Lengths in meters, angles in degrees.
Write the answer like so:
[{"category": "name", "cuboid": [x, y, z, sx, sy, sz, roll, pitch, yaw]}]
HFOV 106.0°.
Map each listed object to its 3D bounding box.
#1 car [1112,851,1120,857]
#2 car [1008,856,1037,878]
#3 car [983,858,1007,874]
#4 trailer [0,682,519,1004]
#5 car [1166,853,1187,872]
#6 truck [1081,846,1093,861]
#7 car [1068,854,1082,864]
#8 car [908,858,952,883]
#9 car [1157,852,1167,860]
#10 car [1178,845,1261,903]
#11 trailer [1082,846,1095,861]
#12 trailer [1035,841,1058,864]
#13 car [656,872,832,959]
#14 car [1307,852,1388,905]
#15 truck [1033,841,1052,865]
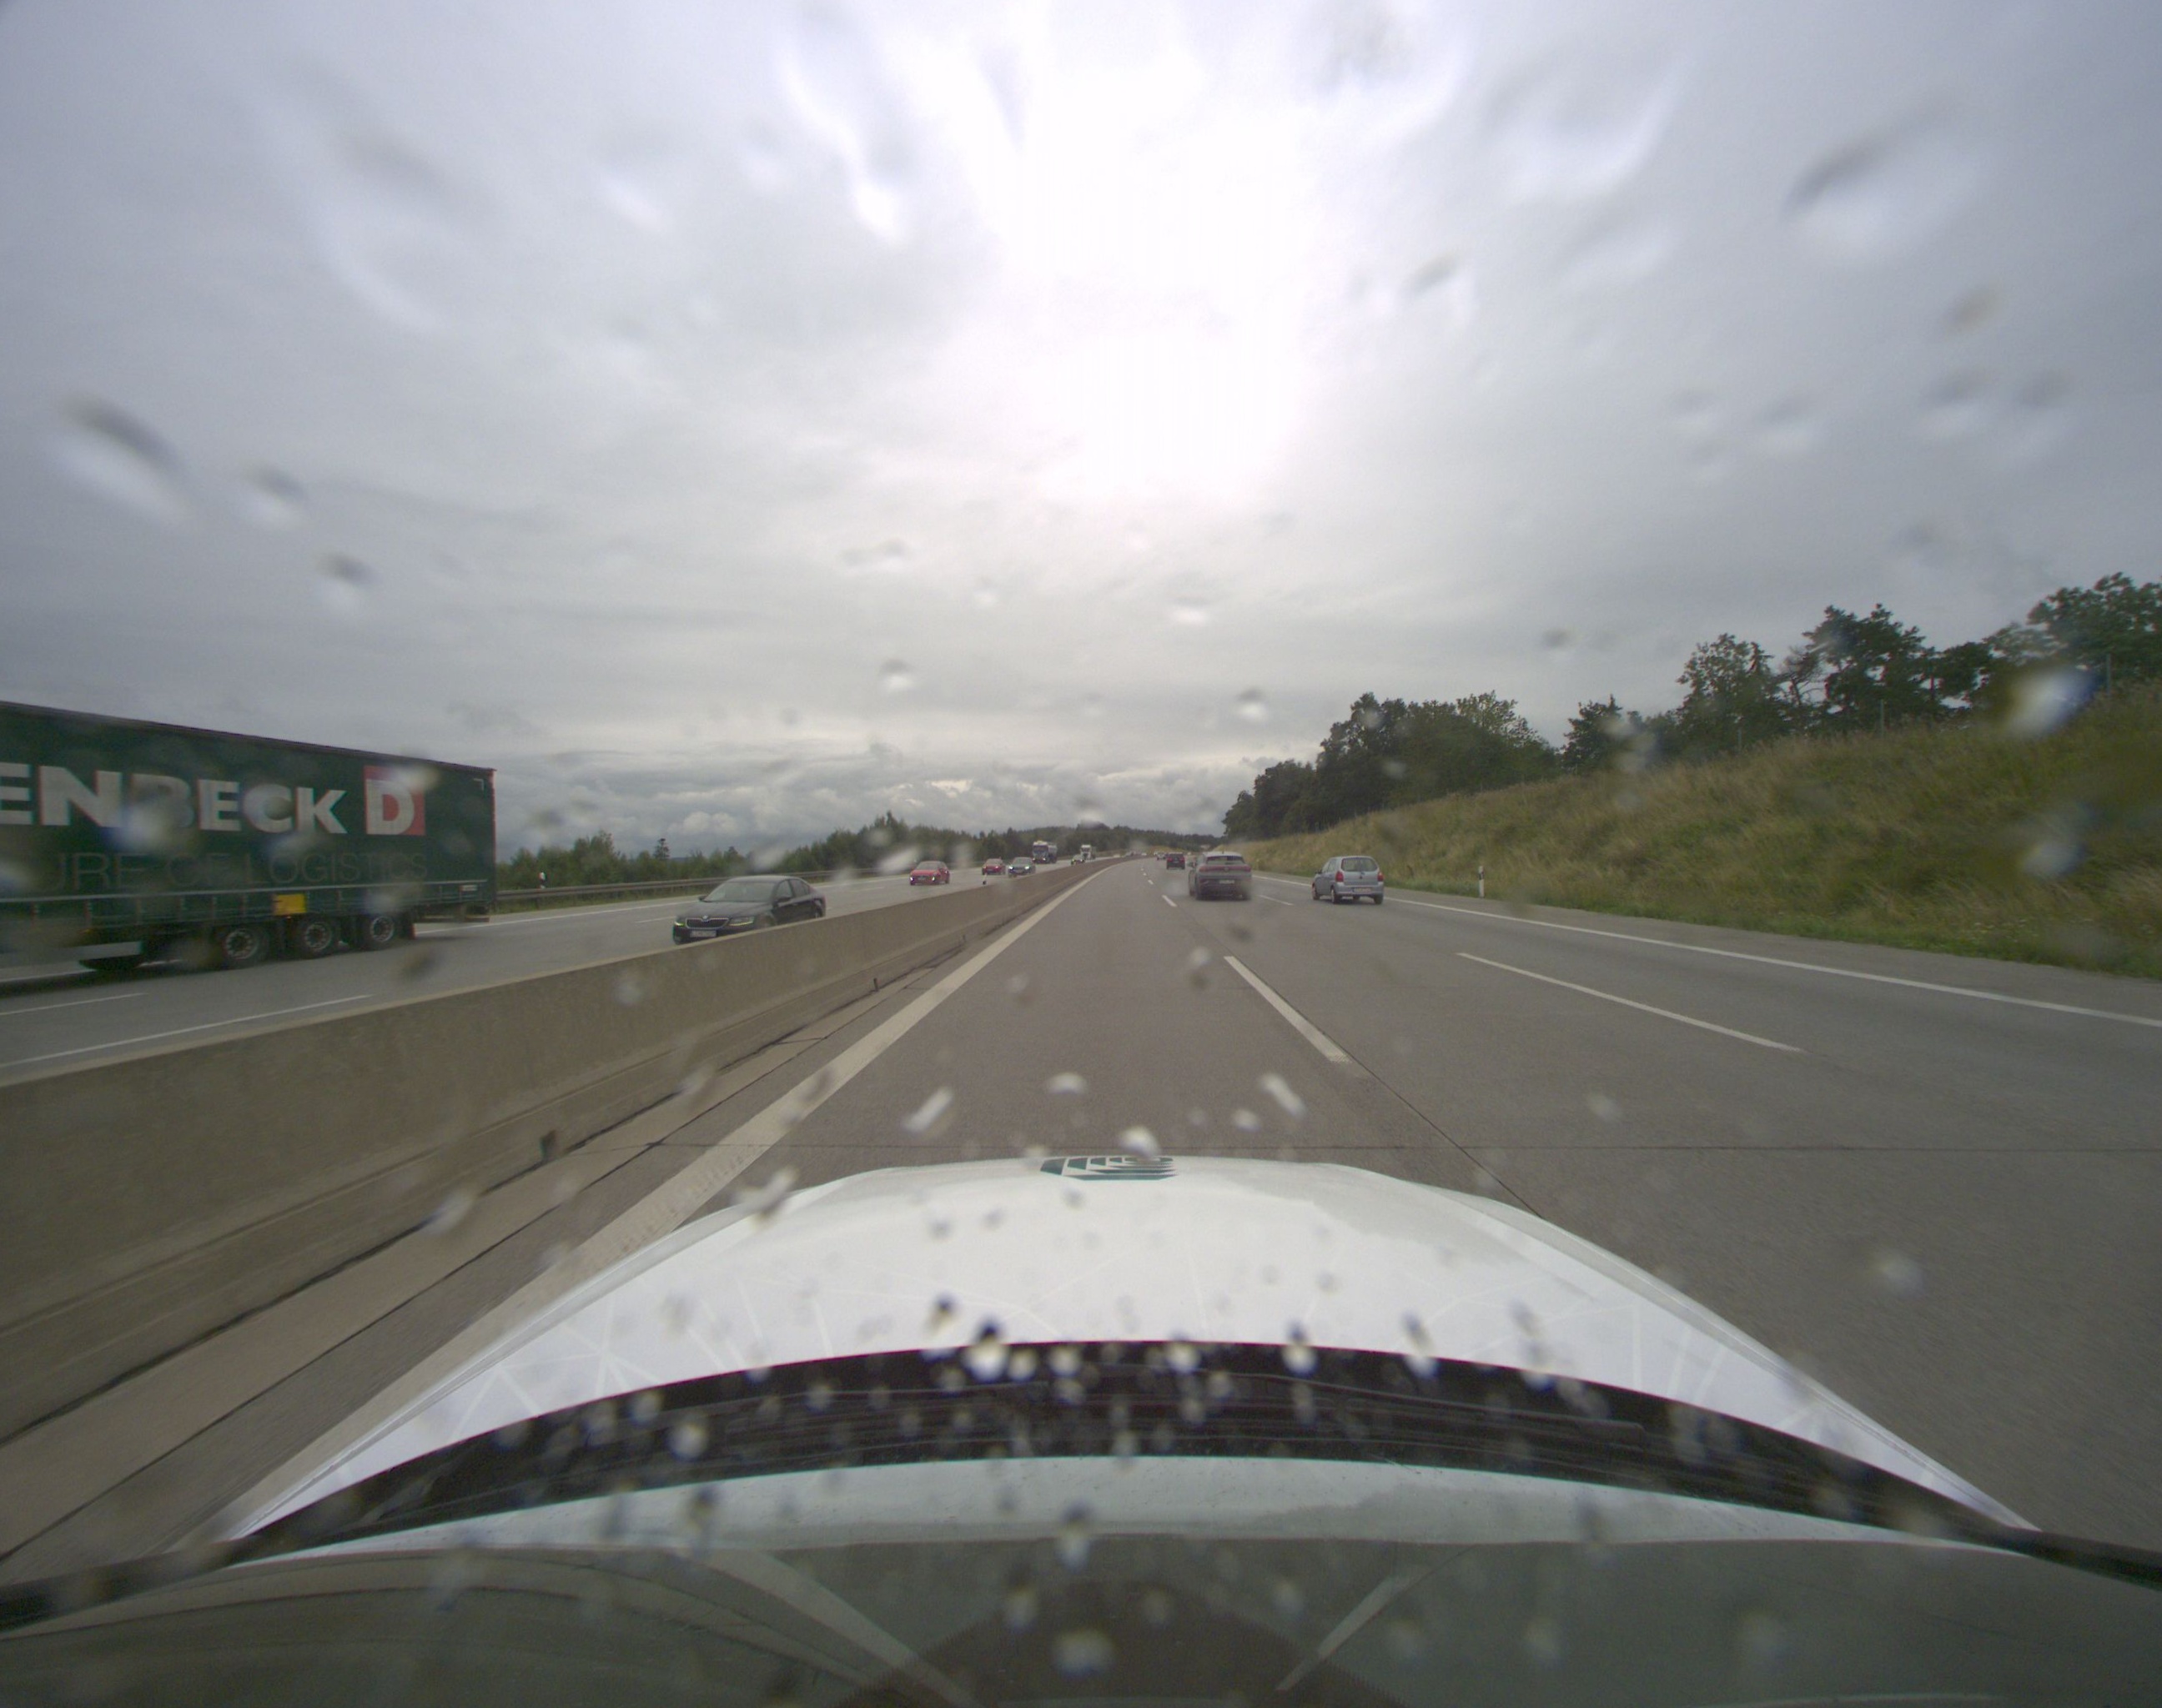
[{"category": "car", "cuboid": [9.356, -0.042, 217.363, 1.985, 1.441, 4.773, 1, 1, 4]}, {"category": "car", "cuboid": [-4.703, 1.014, 66.356, 1.715, 1.587, 4.975, -2, 1, 3]}, {"category": "car", "cuboid": [-7.873, 1.065, 75.050, 1.512, 1.393, 4.490, 0, 0, 3]}, {"category": "trailer", "cuboid": [-15.650, -0.206, 14.308, 2.755, 4.281, 12.174, 0, 1, 2]}, {"category": "car", "cuboid": [9.611, 0.856, 82.336, 1.777, 1.746, 3.919, -3, 1, 3]}, {"category": "truck", "cuboid": [1.604, -0.097, 215.527, 2.737, 3.802, 5.539, 0, -1, 5]}, {"category": "car", "cuboid": [-0.903, 0.698, 120.620, 1.784, 1.417, 4.347, -1, 1, 3]}, {"category": "car", "cuboid": [-9.483, 1.049, 51.571, 1.711, 1.508, 4.489, -2, -1, 3]}, {"category": "car", "cuboid": [18.524, 0.485, 186.100, 1.830, 1.500, 4.011, -3, 1, 9]}, {"category": "car", "cuboid": [4.702, 0.610, 28.421, 1.892, 1.689, 5.266, -3, 1, 0]}, {"category": "trailer", "cuboid": [2.058, -0.123, 220.595, 2.736, 3.799, 9.329, -1, 0, 5]}, {"category": "trailer", "cuboid": [-6.217, -0.338, 148.258, 2.746, 3.998, 12.302, 0, 1, 4]}, {"category": "car", "cuboid": [-6.994, 1.200, 17.459, 1.765, 1.357, 4.368, -3, 1, 1]}, {"category": "car", "cuboid": [8.252, 0.706, 25.498, 1.480, 1.470, 3.506, -1, 1, 1]}, {"category": "truck", "cuboid": [-6.636, -0.190, 141.491, 2.735, 3.998, 6.936, 0, 1, 3]}]
